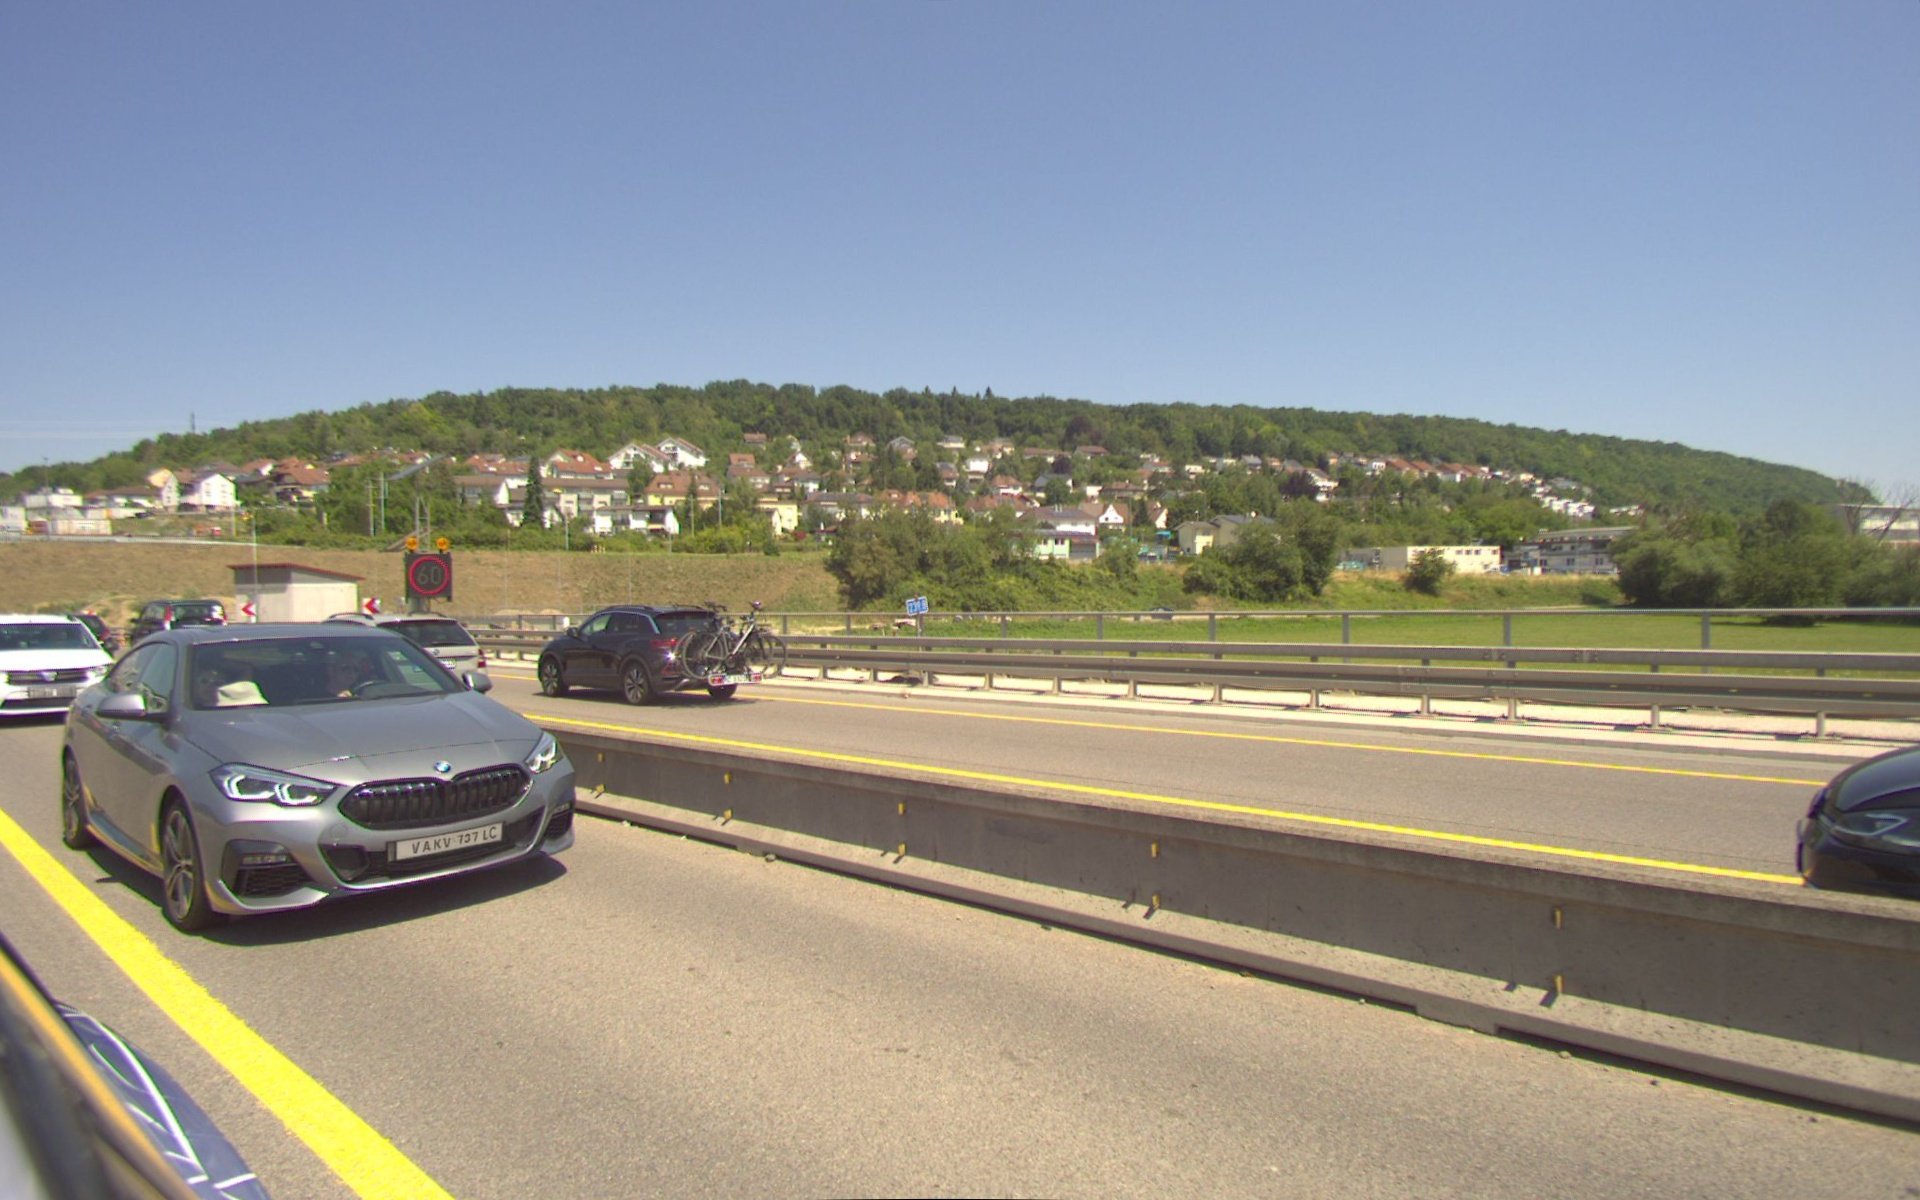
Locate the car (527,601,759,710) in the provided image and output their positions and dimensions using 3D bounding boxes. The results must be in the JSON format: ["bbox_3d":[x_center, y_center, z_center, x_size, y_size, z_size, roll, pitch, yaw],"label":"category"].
[{"bbox_3d":[-5.292,0.854,16.668,3.997,1.581,1.795,-2,-1,40],"label":"car"}]

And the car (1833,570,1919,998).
[{"bbox_3d":[5.130,0.576,2.720,4.153,1.402,1.661,-2,-3,41],"label":"car"}]

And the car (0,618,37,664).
[{"bbox_3d":[-33.960,1.419,35.558,4.082,1.483,1.724,0,1,40],"label":"car"}]

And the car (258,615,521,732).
[{"bbox_3d":[-8.337,0.980,14.611,4.653,1.429,1.807,-2,-3,40],"label":"car"}]

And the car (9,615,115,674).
[{"bbox_3d":[-26.197,1.232,29.471,4.082,1.594,1.723,-1,-1,40],"label":"car"}]

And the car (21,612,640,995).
[{"bbox_3d":[-4.072,0.844,6.139,4.738,1.463,1.833,-2,-2,40],"label":"car"}]

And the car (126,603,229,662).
[{"bbox_3d":[-27.604,1.138,35.645,4.934,1.948,1.904,-2,-2,40],"label":"car"}]

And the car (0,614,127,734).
[{"bbox_3d":[-13.994,0.994,15.058,4.705,1.542,1.799,-1,0,42],"label":"car"}]
